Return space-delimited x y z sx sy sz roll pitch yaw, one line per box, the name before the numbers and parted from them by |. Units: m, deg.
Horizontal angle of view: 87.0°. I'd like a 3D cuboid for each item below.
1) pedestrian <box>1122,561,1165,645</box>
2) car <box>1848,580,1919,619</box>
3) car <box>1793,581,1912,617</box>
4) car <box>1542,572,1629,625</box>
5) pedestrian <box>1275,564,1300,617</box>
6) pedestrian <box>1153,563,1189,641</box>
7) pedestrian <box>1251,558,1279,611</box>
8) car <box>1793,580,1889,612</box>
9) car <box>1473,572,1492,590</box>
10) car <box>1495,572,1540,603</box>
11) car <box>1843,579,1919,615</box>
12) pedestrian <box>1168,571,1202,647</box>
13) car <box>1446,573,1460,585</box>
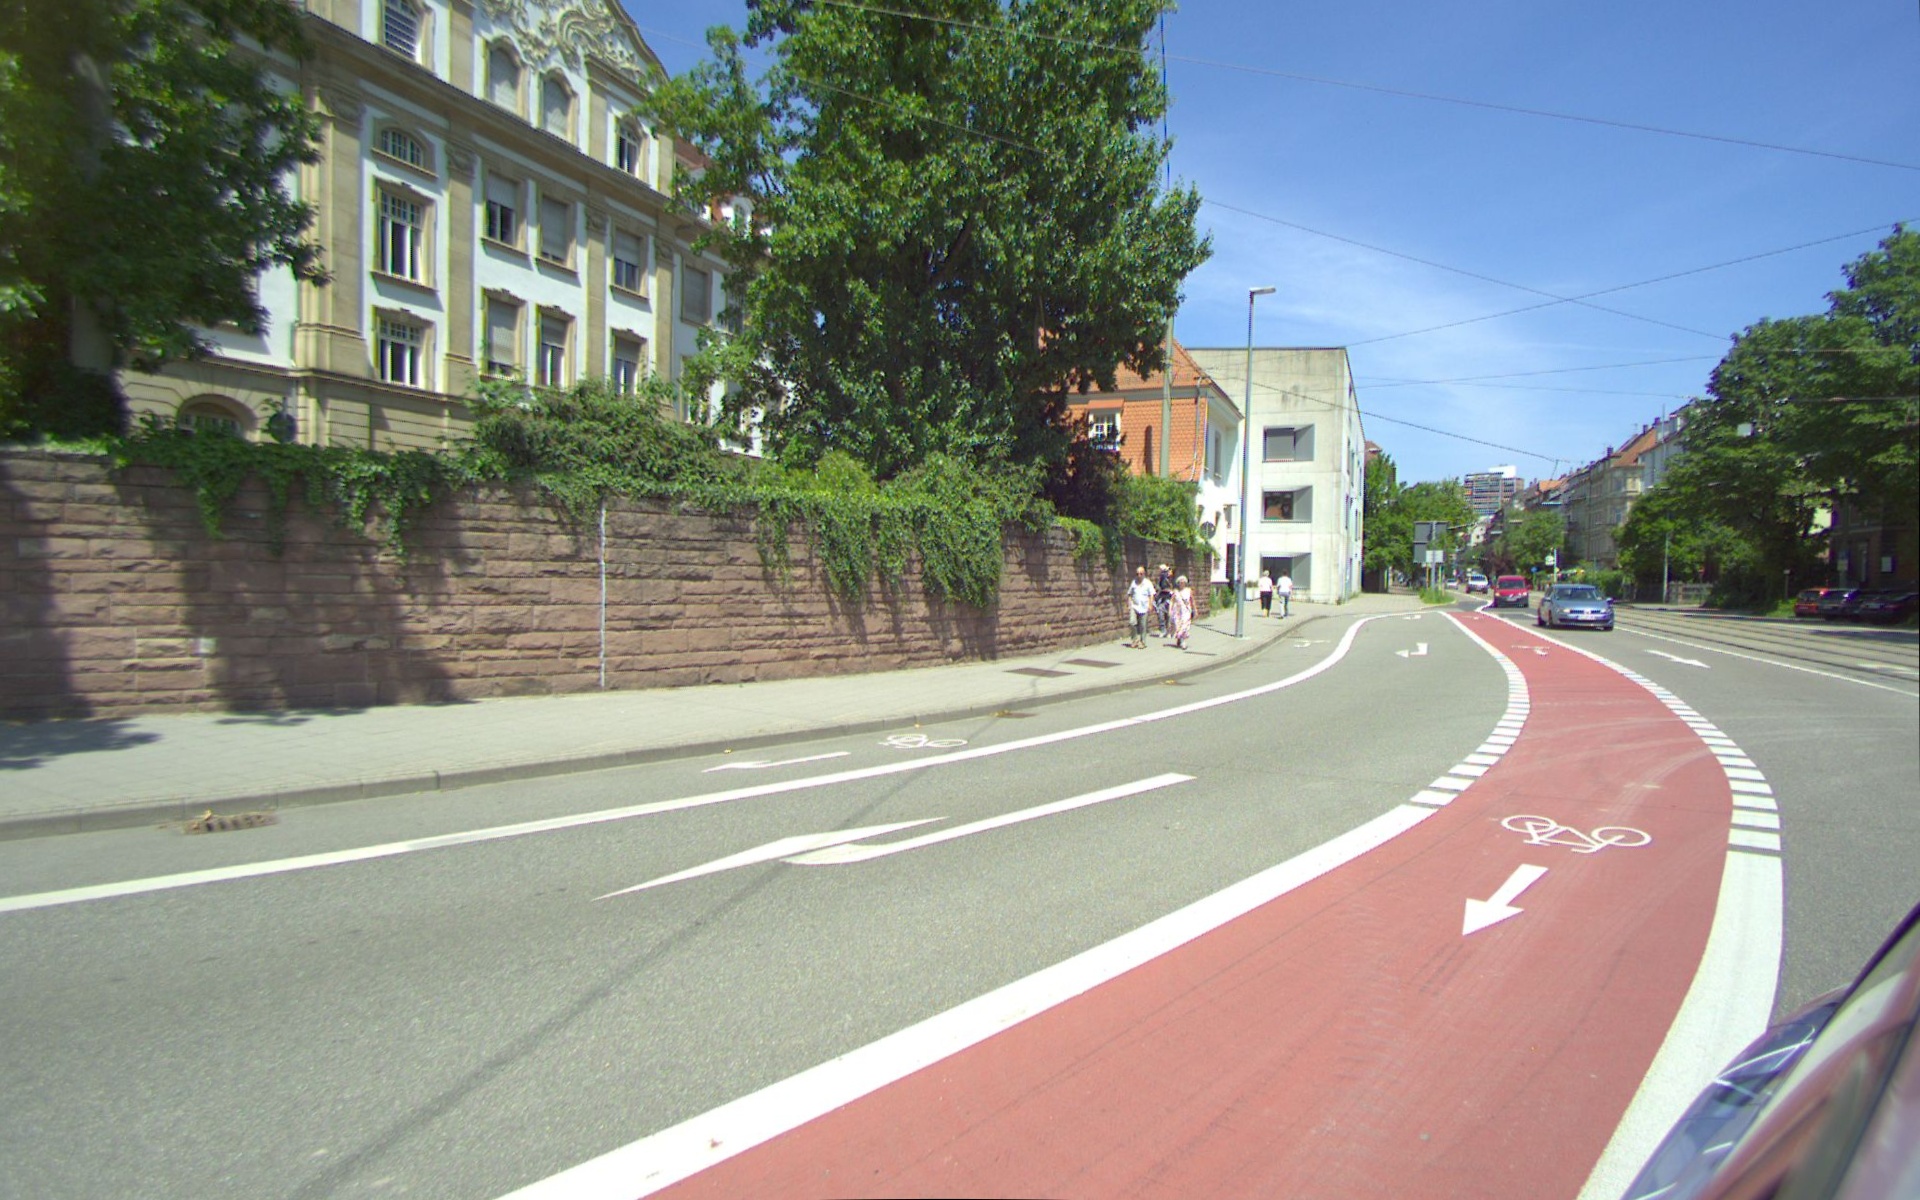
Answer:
pedestrian | 3.760 0.056 20.700 0.657 1.667 0.618 2 2 30
car | 41.522 -0.022 44.334 3.742 1.596 1.796 1 1 -5
car | 41.585 -0.078 47.213 4.236 1.604 1.671 0 2 -4
car | 20.434 -0.008 33.225 1.874 1.590 4.003 1 -1 24
pedestrian | 11.570 -0.355 35.714 0.673 1.830 0.740 2 2 28
pedestrian | 4.953 0.041 23.759 0.710 1.795 0.624 1 1 23
pedestrian | 10.864 -0.554 36.066 0.809 1.830 0.693 2 2 29
car | 43.683 -0.225 50.218 3.288 1.534 1.670 0 1 -1
car | 54.768 -2.005 106.170 1.604 1.730 3.401 1 3 25
car | 31.888 -0.750 57.928 1.855 1.667 3.750 1 3 23
car | 39.081 -0.127 41.723 3.858 1.391 1.670 1 1 -1
pedestrian | 4.736 0.180 21.312 0.513 1.551 0.591 2 2 29
car | 74.079 -3.128 152.112 1.865 1.705 3.339 1 3 26
